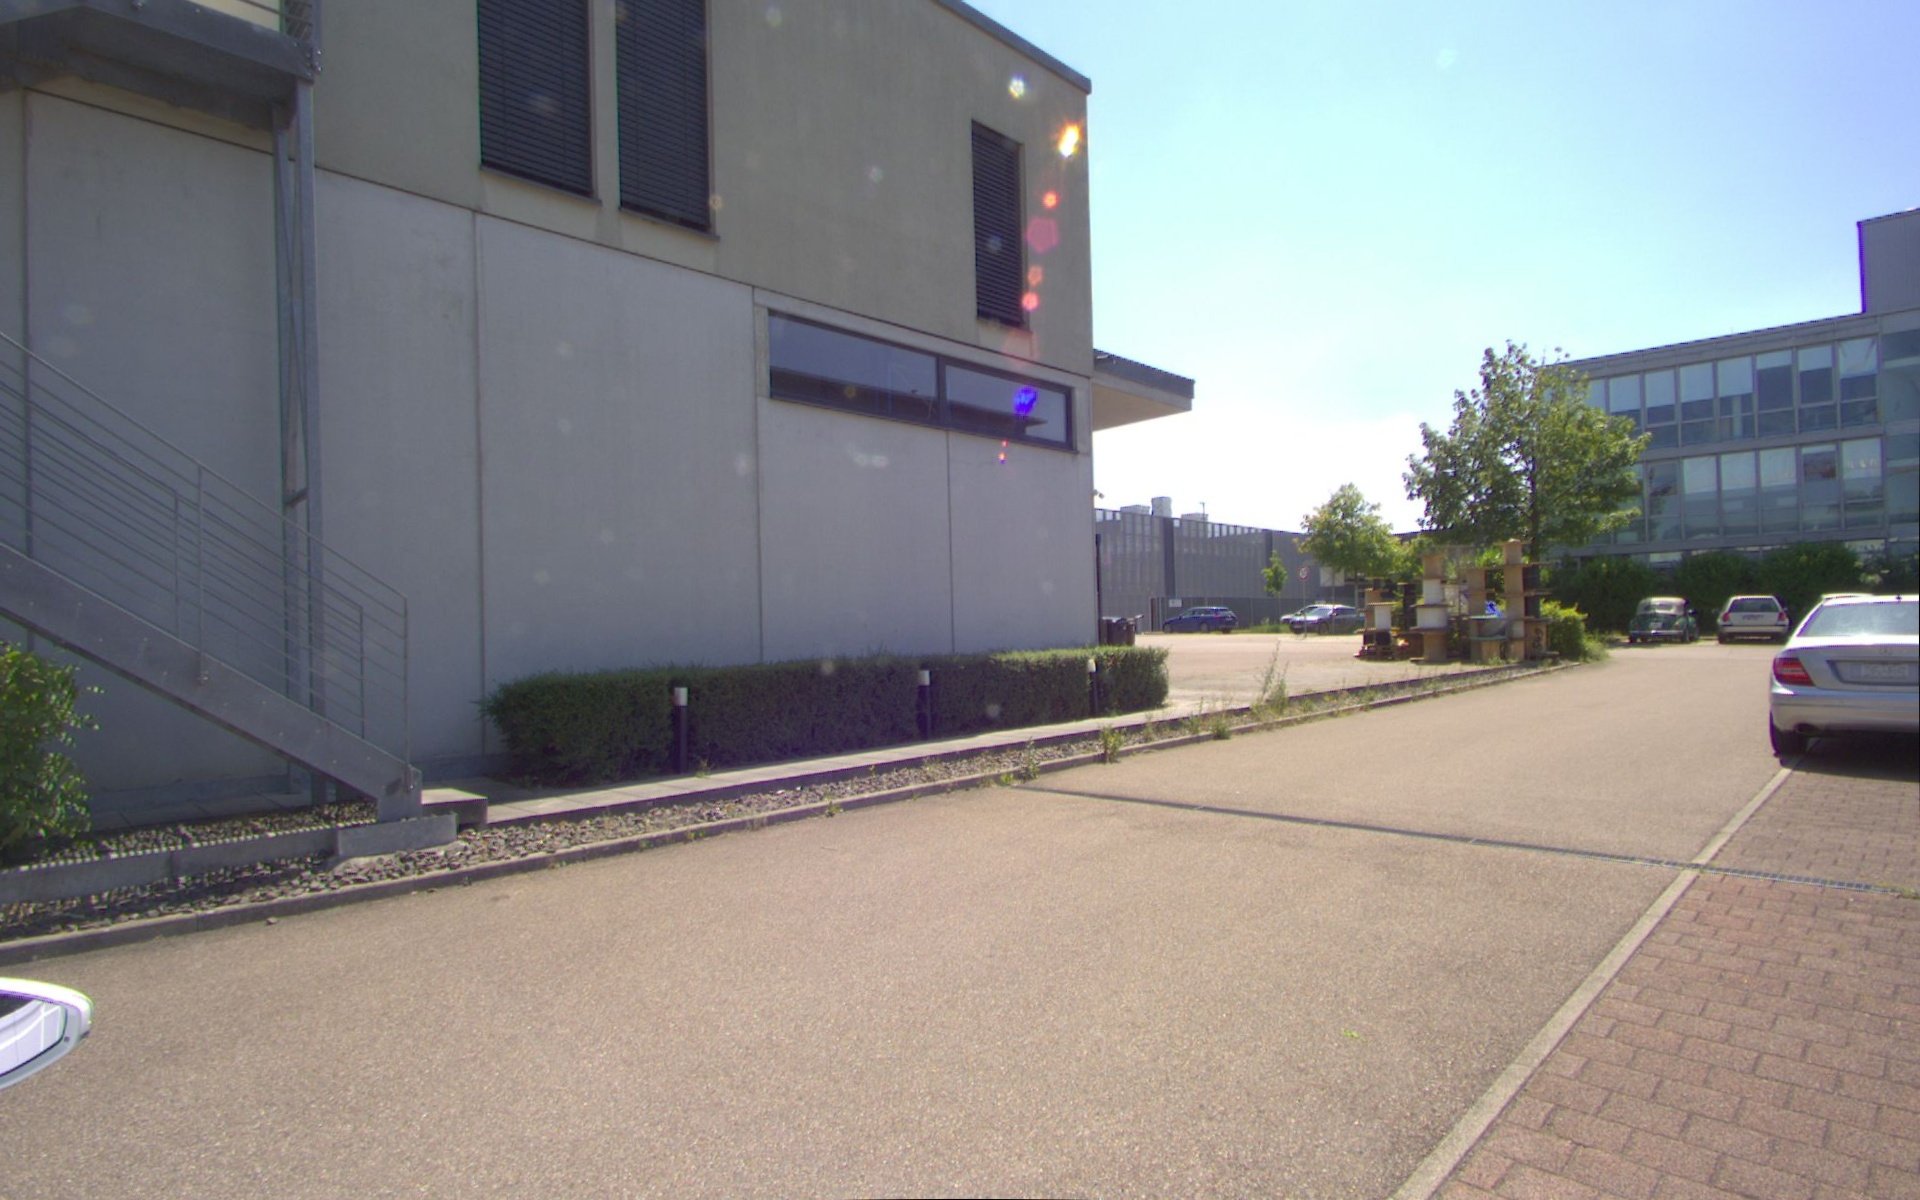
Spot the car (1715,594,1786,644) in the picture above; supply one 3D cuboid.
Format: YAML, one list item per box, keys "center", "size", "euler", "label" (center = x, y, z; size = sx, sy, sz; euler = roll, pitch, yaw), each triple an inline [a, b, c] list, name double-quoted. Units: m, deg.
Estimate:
- center: [24.889, 0.619, 31.594]
  size: [1.653, 1.459, 3.973]
  euler: [-1, -2, 37]
  label: "car"

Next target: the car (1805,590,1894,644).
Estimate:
- center: [26.912, 0.541, 30.400]
  size: [1.728, 1.538, 3.973]
  euler: [-1, -2, 37]
  label: "car"

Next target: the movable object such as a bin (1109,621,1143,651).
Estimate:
- center: [5.553, 1.204, 33.416]
  size: [0.809, 0.993, 0.803]
  euler: [-1, -1, 45]
  label: "movable object such as a bin"

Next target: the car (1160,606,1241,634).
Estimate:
- center: [13.104, 1.134, 54.806]
  size: [1.725, 1.433, 4.425]
  euler: [1, -2, -31]
  label: "car"

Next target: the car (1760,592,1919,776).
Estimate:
- center: [8.808, 0.693, 9.306]
  size: [3.681, 1.455, 1.713]
  euler: [1, -2, -44]
  label: "car"

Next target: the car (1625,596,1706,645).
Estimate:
- center: [23.304, 0.686, 33.017]
  size: [1.730, 1.538, 3.967]
  euler: [-1, -2, 42]
  label: "car"

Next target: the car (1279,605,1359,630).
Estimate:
- center: [21.427, 1.069, 59.861]
  size: [1.726, 1.433, 4.423]
  euler: [1, -2, -32]
  label: "car"

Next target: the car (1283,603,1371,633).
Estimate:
- center: [19.021, 0.936, 51.907]
  size: [4.102, 1.539, 1.650]
  euler: [0, -1, -18]
  label: "car"

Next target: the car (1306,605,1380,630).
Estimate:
- center: [23.322, 1.095, 61.059]
  size: [1.726, 1.433, 4.044]
  euler: [1, -2, -32]
  label: "car"
